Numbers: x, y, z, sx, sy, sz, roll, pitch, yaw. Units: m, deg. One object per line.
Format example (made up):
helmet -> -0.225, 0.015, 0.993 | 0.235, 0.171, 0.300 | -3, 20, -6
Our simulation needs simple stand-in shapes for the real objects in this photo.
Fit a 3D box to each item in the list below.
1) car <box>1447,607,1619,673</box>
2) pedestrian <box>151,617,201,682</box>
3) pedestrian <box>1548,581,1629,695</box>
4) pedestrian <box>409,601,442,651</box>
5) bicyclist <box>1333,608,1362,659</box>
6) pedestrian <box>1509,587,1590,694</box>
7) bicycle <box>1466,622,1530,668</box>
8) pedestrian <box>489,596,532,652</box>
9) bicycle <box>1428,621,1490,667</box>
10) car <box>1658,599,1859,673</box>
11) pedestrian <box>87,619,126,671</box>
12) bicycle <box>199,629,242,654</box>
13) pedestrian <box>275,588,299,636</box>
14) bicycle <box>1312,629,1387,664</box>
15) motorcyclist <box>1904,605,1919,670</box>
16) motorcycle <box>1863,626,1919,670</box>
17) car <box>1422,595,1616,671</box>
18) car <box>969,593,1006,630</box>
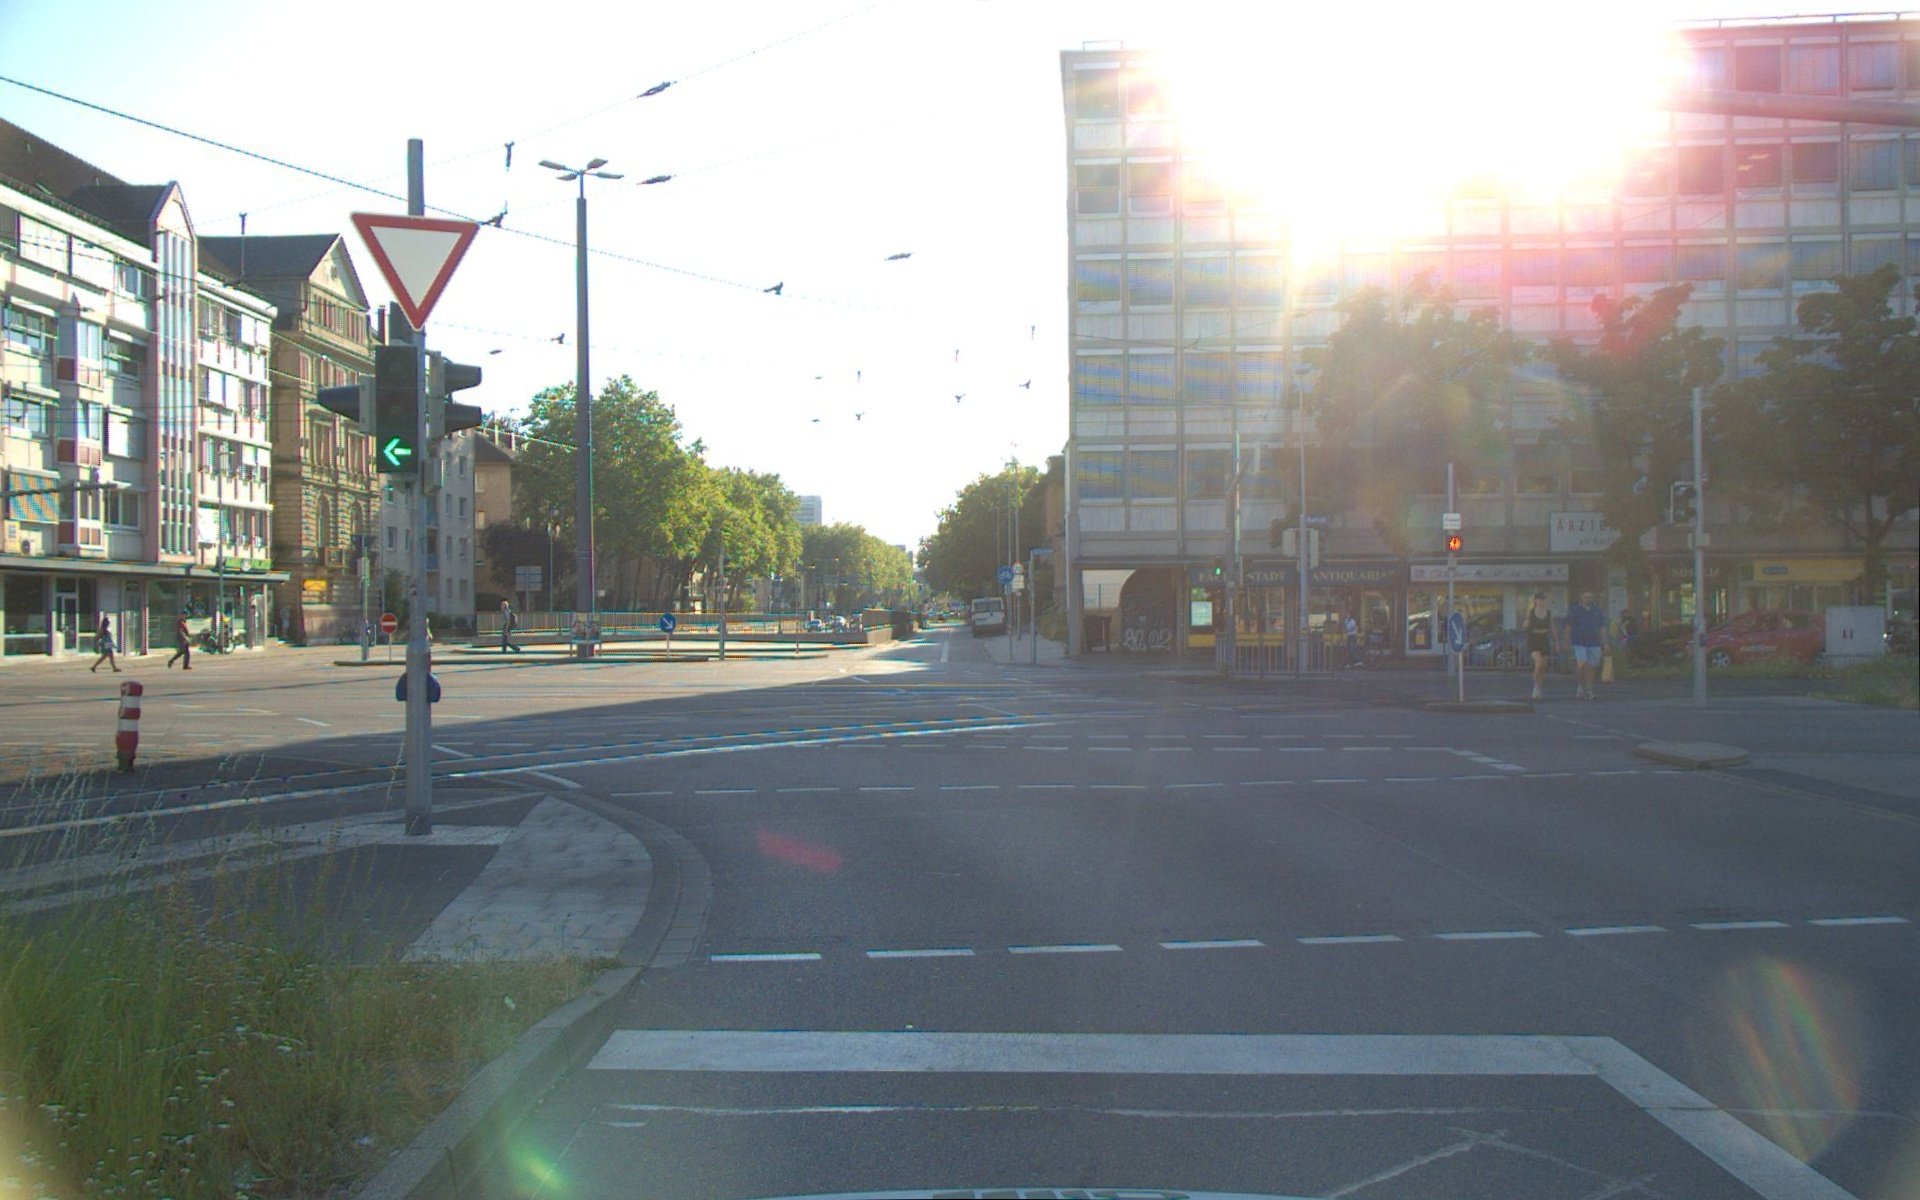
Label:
car -> 15.205, 1.040, 44.019 | 3.982, 1.646, 1.845 | 1, -1, 4
pedestrian -> -24.355, 1.534, 51.386 | 1.171, 1.916, 0.856 | 1, 3, -5
pedestrian -> 10.360, 0.617, 27.266 | 0.690, 1.824, 1.028 | 2, -1, -38
pedestrian -> -16.383, 0.803, 50.692 | 0.844, 1.491, 0.679 | 2, -6, -30
bicyclist -> 11.141, 0.963, 47.583 | 0.665, 1.449, 0.671 | 1, -1, -2
pedestrian -> 9.618, 0.652, 26.984 | 0.690, 1.712, 1.028 | 2, -1, -38
bicycle -> 15.843, 1.308, 48.786 | 0.735, 1.163, 2.638 | 1, 2, -6
pedestrian -> -14.372, 0.764, 52.897 | 1.171, 1.761, 0.855 | 1, -1, -5
bicycle -> 14.672, 1.277, 48.724 | 0.735, 1.163, 2.638 | 1, 2, -6
car -> 18.980, 0.854, 39.426 | 3.903, 1.646, 1.845 | 1, -1, 4
pedestrian -> -25.125, 1.318, 48.702 | 0.691, 1.479, 0.855 | 1, -1, -5
bicycle -> -32.319, 1.814, 72.269 | 0.441, 1.089, 2.093 | 1, -1, 16
pedestrian -> -34.328, 0.626, 84.348 | 0.910, 2.440, 0.958 | 1, -1, -11
bicycle -> 11.203, 1.326, 47.579 | 1.983, 0.957, 0.671 | 1, -1, -2
motorcyclist -> 22.819, 0.891, 39.324 | 0.451, 1.535, 0.535 | 1, -1, 4
motorcycle -> 22.936, 1.151, 39.310 | 2.606, 1.019, 0.535 | 1, -1, 4
car -> 12.931, 0.763, 38.438 | 3.903, 1.646, 1.845 | 1, -1, 4
car -> 1.724, 0.749, 103.137 | 2.238, 2.210, 4.834 | 1, -1, 1
